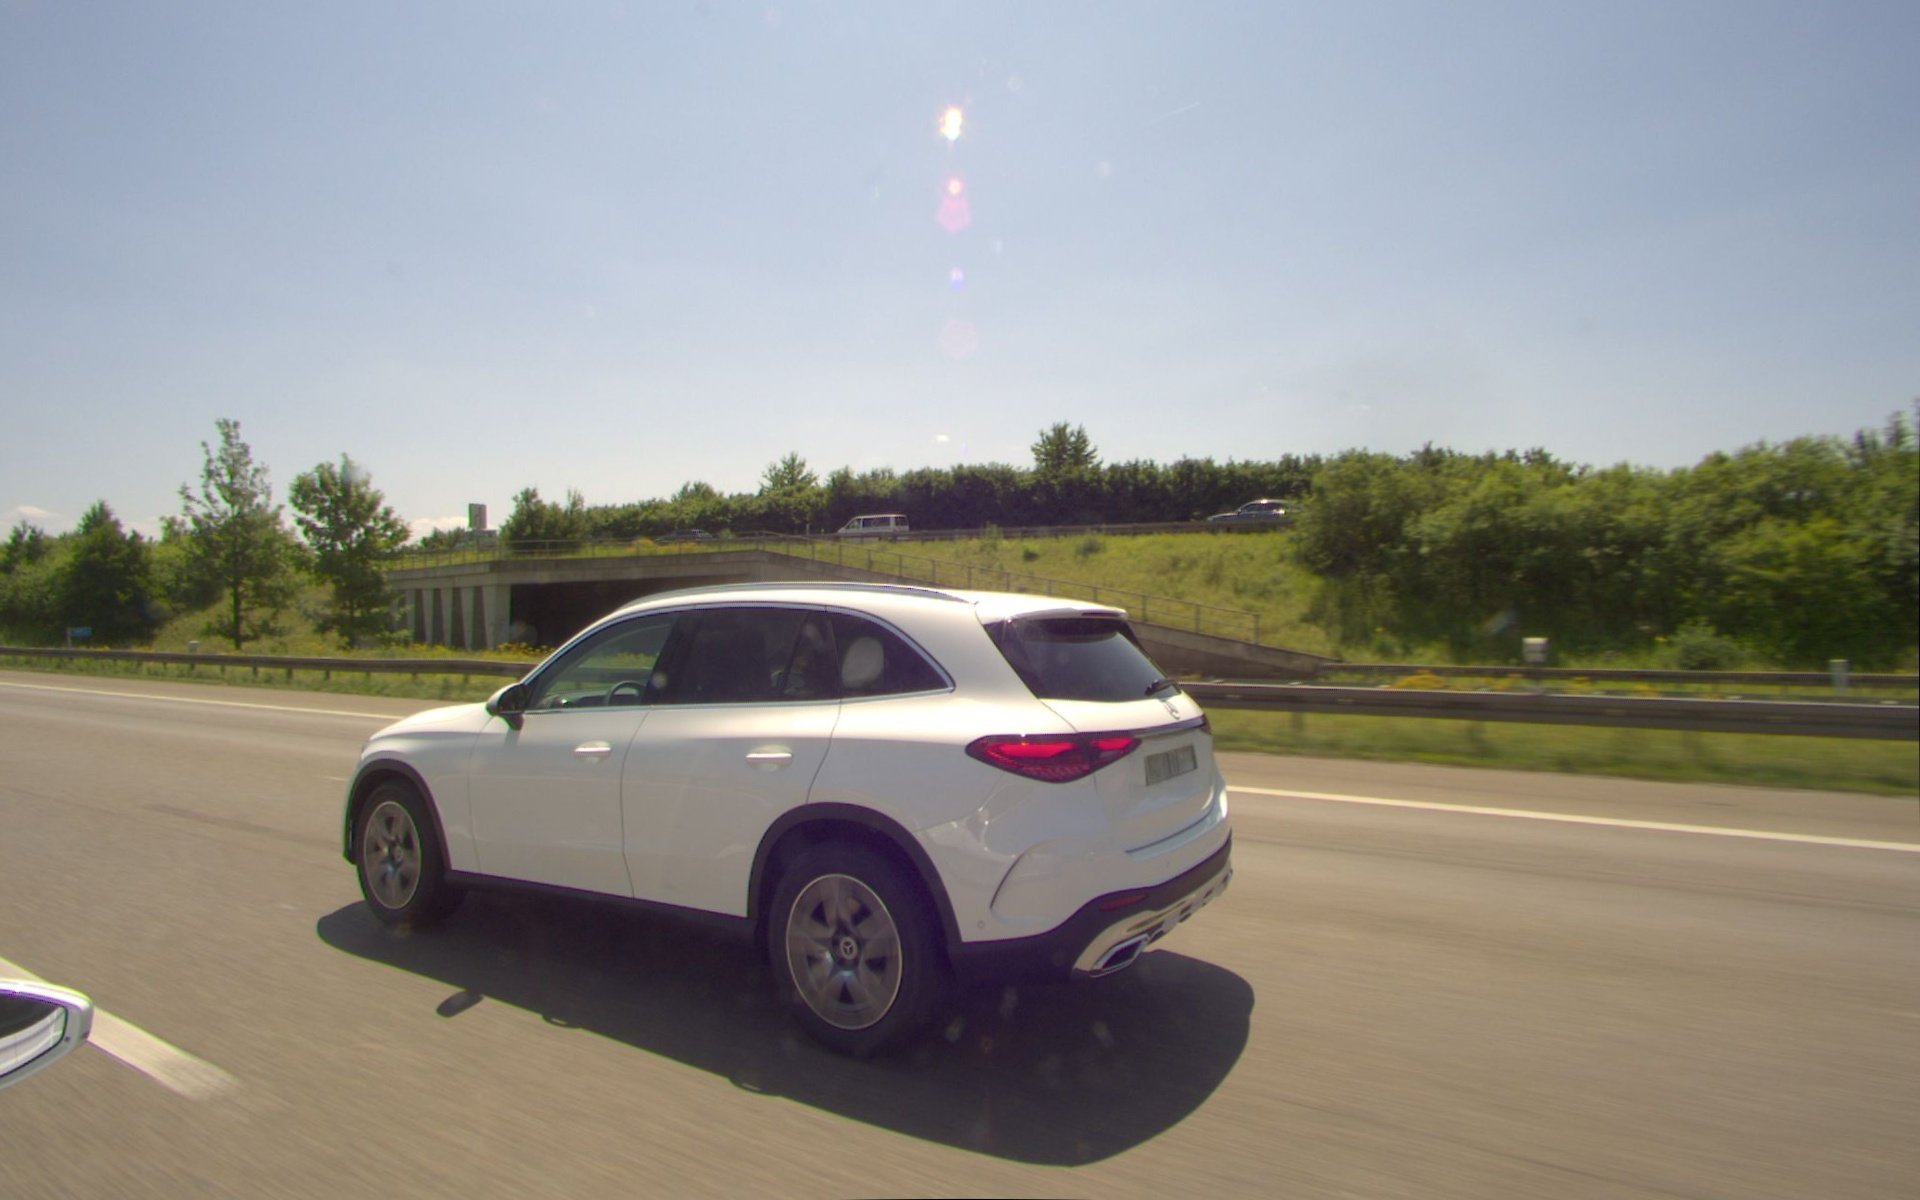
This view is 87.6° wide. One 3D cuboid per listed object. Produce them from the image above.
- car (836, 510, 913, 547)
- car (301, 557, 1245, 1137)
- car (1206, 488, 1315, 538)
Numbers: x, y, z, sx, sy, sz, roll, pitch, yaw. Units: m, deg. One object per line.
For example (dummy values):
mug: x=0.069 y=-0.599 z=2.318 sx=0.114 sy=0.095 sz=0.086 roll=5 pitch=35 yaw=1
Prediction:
car: x=-5.282 y=-4.400 z=61.905 sx=4.459 sy=1.830 sz=1.992 roll=-1 pitch=-2 yaw=29
car: x=-1.135 y=0.759 z=4.956 sx=4.571 sy=1.677 sz=1.901 roll=-1 pitch=-1 yaw=33
car: x=13.831 y=-3.961 z=46.148 sx=4.460 sy=1.830 sz=1.991 roll=-1 pitch=-2 yaw=30
